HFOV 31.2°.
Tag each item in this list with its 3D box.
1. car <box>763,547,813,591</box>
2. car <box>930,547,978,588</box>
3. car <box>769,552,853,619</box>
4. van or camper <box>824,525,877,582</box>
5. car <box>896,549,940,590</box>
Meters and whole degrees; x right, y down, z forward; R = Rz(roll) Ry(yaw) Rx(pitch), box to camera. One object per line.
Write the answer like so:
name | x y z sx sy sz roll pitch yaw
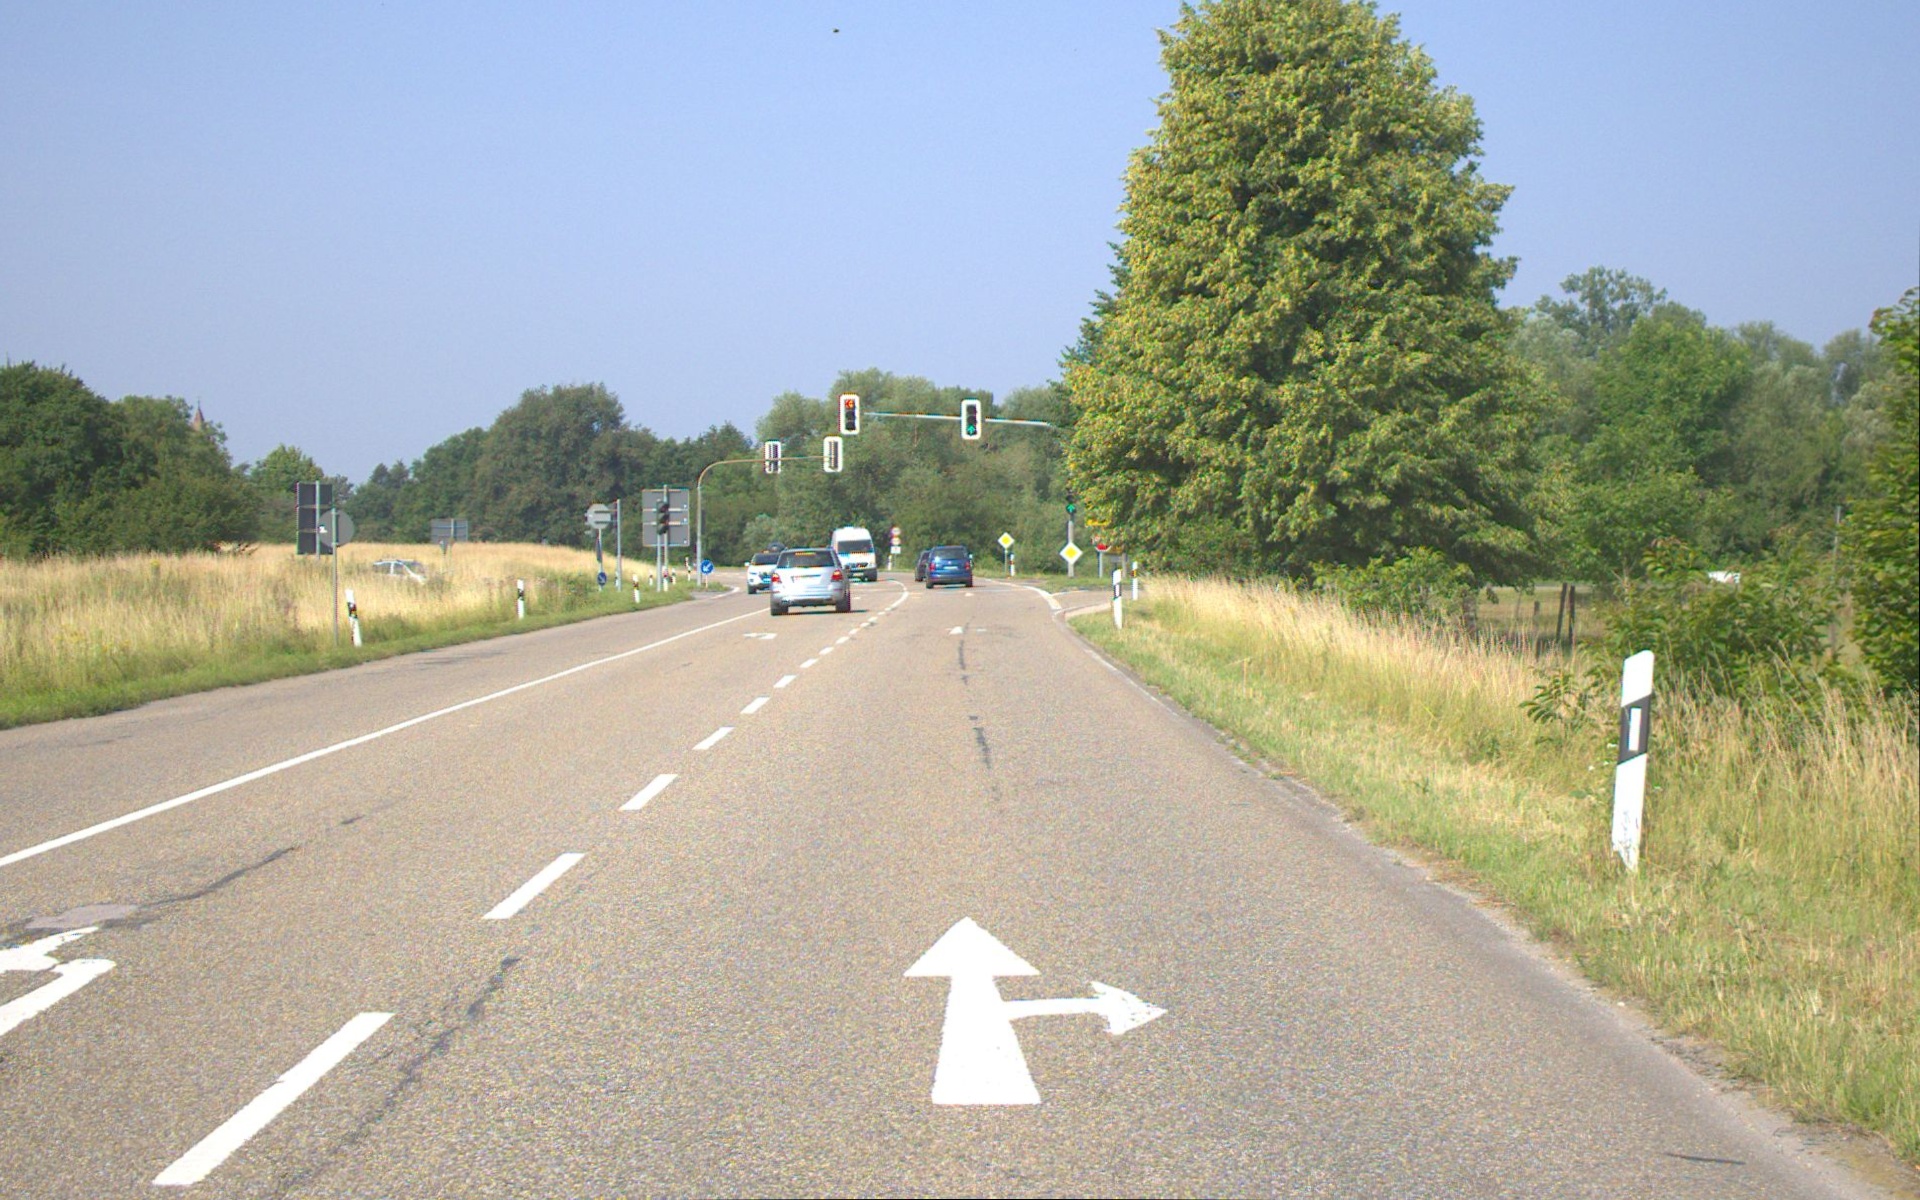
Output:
car | -6.923 -1.264 138.896 1.592 1.722 4.000 2 1 3
car | -0.230 -1.286 134.334 1.816 1.515 4.000 2 1 0
car | -3.634 -0.371 84.403 1.899 1.506 4.000 2 1 -1
van or camper | -5.396 -2.296 169.503 2.265 2.700 5.262 2 1 1
car | -1.950 -1.441 160.335 1.993 1.809 4.000 2 1 0
